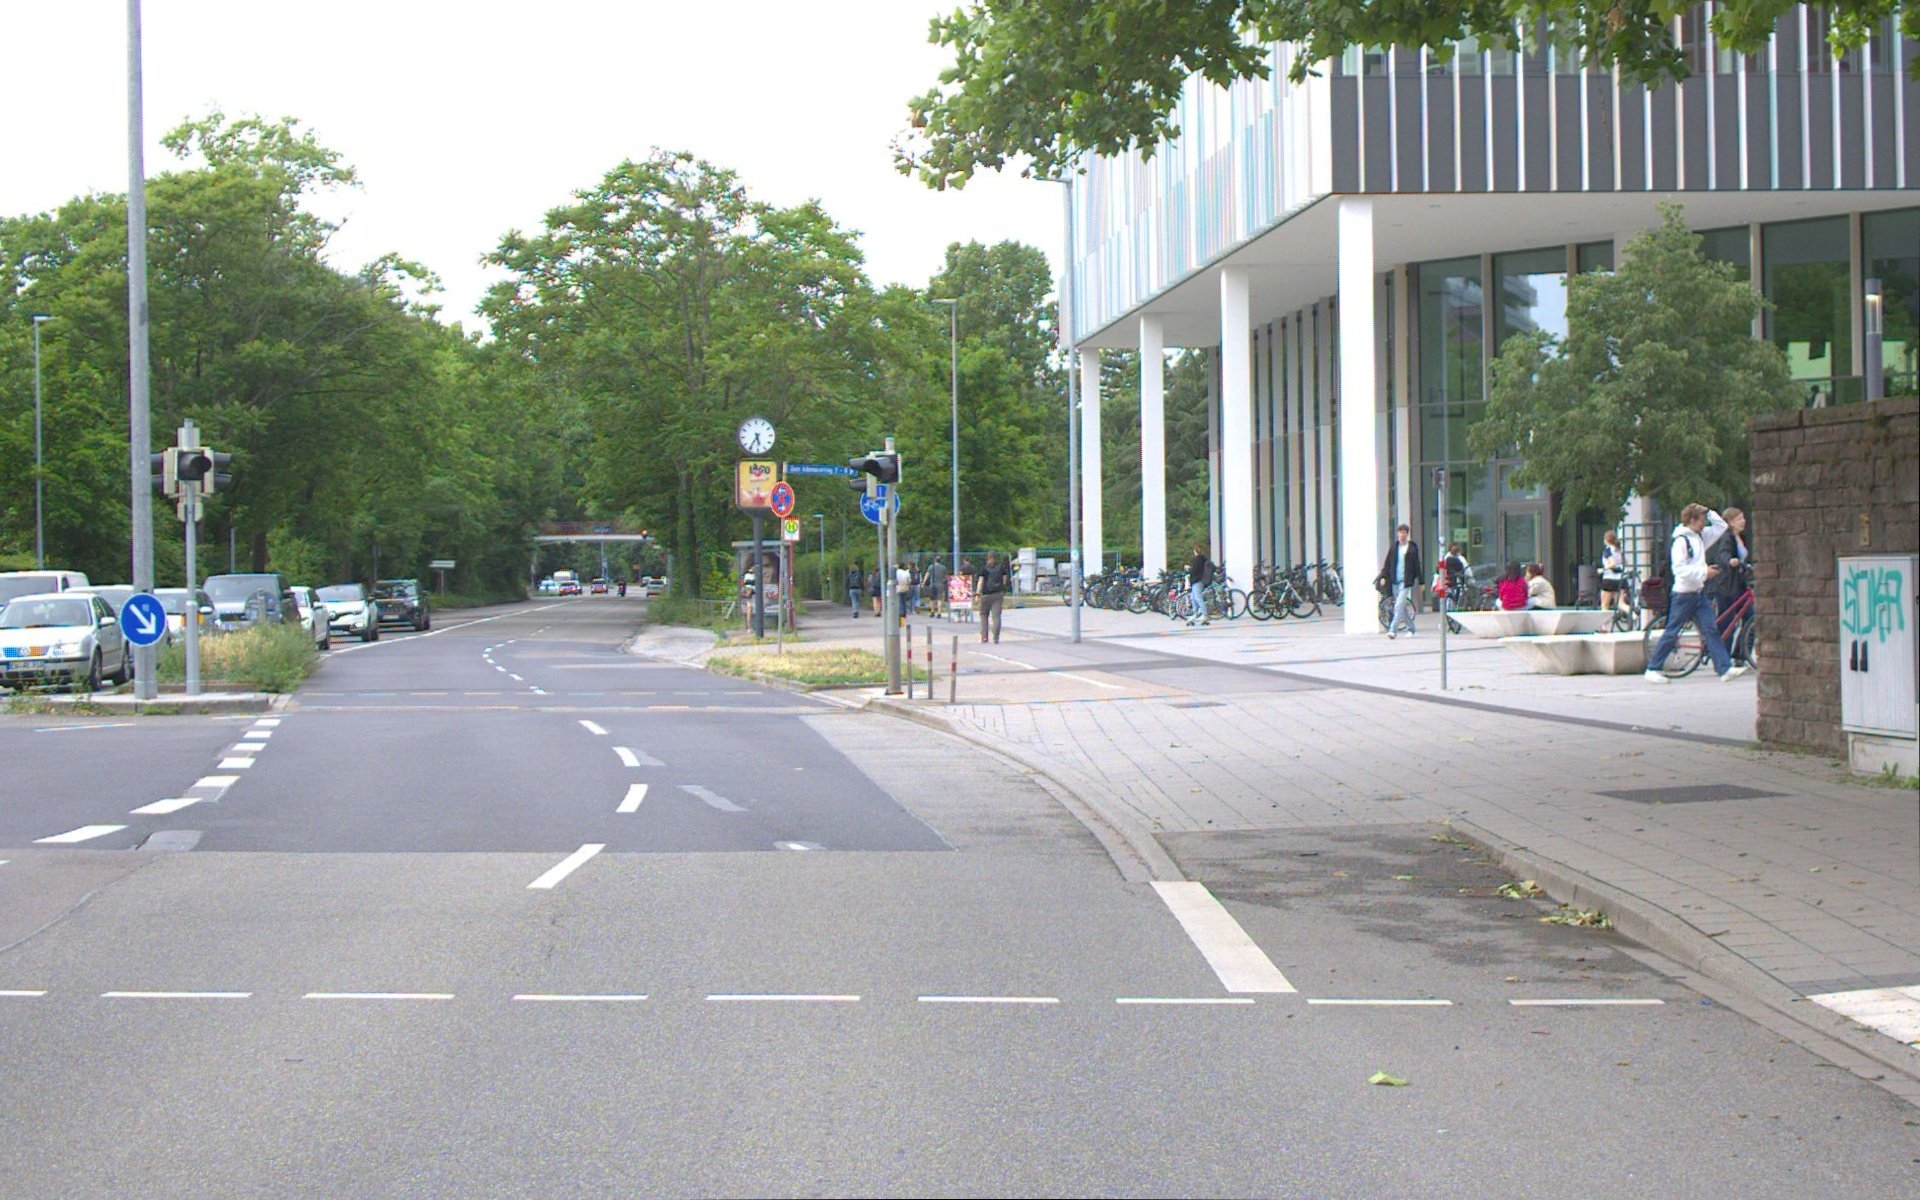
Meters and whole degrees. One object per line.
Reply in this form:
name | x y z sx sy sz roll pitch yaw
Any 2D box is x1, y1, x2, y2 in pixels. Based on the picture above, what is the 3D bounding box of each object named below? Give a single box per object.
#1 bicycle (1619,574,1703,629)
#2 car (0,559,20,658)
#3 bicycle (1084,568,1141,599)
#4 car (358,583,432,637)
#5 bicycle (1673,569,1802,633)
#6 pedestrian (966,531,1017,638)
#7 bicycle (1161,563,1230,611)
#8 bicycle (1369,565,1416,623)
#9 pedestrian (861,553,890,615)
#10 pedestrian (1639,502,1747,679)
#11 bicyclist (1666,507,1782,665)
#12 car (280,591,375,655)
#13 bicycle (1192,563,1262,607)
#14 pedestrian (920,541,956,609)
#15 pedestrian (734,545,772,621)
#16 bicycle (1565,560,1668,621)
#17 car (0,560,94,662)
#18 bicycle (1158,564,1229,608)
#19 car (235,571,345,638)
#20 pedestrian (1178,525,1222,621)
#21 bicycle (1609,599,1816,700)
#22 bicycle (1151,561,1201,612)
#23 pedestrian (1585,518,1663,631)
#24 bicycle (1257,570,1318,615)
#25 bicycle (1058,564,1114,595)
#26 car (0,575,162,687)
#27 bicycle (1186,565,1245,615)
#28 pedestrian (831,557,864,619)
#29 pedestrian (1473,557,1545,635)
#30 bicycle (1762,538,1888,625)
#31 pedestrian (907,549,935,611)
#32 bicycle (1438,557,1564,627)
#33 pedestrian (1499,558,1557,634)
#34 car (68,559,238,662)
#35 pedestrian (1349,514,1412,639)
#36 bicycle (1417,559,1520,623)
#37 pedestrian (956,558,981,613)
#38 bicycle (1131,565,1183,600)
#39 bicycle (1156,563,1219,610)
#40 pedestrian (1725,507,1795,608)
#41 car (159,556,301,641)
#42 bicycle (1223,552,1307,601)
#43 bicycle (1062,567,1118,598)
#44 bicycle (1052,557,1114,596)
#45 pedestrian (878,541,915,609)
bicycle | 11.973 0.023 58.685 0.671 0.896 1.842 -1 1 37
car | -16.770 0.173 55.395 1.993 1.614 4.000 -1 1 2
bicycle | 4.538 -0.495 102.094 1.606 0.872 0.556 -2 1 -4
car | -17.747 0.288 108.169 1.902 1.588 4.517 -1 1 -4
bicycle | 12.847 0.005 56.801 2.185 1.002 0.782 -2 1 -34
pedestrian | 0.609 -0.307 66.478 0.842 2.007 0.894 -3 1 -3
bicycle | 5.851 -0.317 85.287 1.644 1.087 0.572 -4 0 4
bicycle | 8.126 -0.121 64.589 0.638 1.058 1.840 1 1 0
pedestrian | -2.754 -0.518 112.368 0.823 2.007 0.720 -1 0 -9
pedestrian | 7.503 -0.100 35.194 0.782 1.789 0.788 -1 1 39
bicyclist | 8.078 -0.150 36.355 0.968 1.640 0.734 1 0 35
car | -16.692 0.577 90.923 1.993 1.541 4.180 -2 1 -4
bicycle | 6.404 -0.360 82.328 1.606 0.932 0.568 -3 1 6
pedestrian | -0.666 -0.760 103.867 0.925 2.007 1.040 -1 0 -5
pedestrian | -5.709 -0.471 94.761 0.912 2.006 0.854 -3 3 -5
bicycle | 11.329 -0.169 59.308 0.774 0.998 1.955 -1 1 44
car | -17.638 0.174 64.608 1.771 1.841 4.489 1 1 -2
bicycle | 5.686 -0.344 83.689 1.606 0.979 0.556 -4 1 -4
car | -15.228 0.080 78.389 1.903 1.460 4.912 1 1 -5
pedestrian | 5.103 -0.578 73.014 0.891 2.007 0.845 -1 0 5
bicycle | 7.974 0.514 36.450 1.973 1.014 0.795 1 1 31
bicycle | 4.978 -0.317 79.470 0.635 1.136 2.201 -4 1 -9
pedestrian | 10.880 -0.413 56.332 0.843 1.829 0.894 -2 1 -40
bicycle | 7.151 -0.170 74.957 1.484 0.926 0.440 -3 3 -43
bicycle | 3.830 -0.620 104.614 1.606 0.872 0.556 -2 1 -4
car | -13.243 0.429 50.234 1.993 1.524 4.274 -1 1 2
bicycle | 5.695 -0.231 76.709 0.607 1.076 1.963 -3 1 -16
pedestrian | -3.677 -0.399 112.658 0.925 2.007 1.040 -1 0 -9
pedestrian | 8.651 -0.068 54.142 0.844 1.202 0.893 -1 1 30
bicycle | 14.064 -0.312 55.880 2.001 1.301 0.646 -3 3 -26
pedestrian | -1.284 -0.654 113.153 0.824 2.007 0.720 -2 0 -5
bicycle | 9.626 -0.153 61.135 0.774 1.184 2.713 -1 1 44
pedestrian | 9.052 -0.065 54.769 0.892 1.189 0.845 -1 1 10
car | -13.723 0.147 58.692 1.957 1.578 4.256 -3 1 -2
pedestrian | 6.868 -0.387 56.157 0.842 2.007 0.894 -1 0 -3
bicycle | 9.251 -0.164 62.514 0.736 1.112 2.178 -1 1 43
pedestrian | 0.263 -0.442 104.380 0.729 1.678 0.747 1 0 -1
bicycle | 5.163 -0.468 90.051 1.283 0.872 0.556 -2 1 -4
bicycle | 5.502 -0.325 83.105 1.400 1.040 0.559 -3 1 -4
pedestrian | 16.562 -0.878 71.183 1.183 2.055 1.134 1 0 25
car | -15.095 -0.053 71.342 1.993 1.681 4.948 0 1 -1
bicycle | 7.577 -0.583 85.489 1.985 1.140 0.647 -2 1 37
bicycle | 3.920 -0.532 103.660 1.606 0.872 0.556 -2 1 -4
bicycle | 3.814 -0.733 106.614 1.794 1.078 0.626 -3 1 -6
pedestrian | -1.923 -0.753 103.867 0.925 2.007 1.040 -1 0 -9
